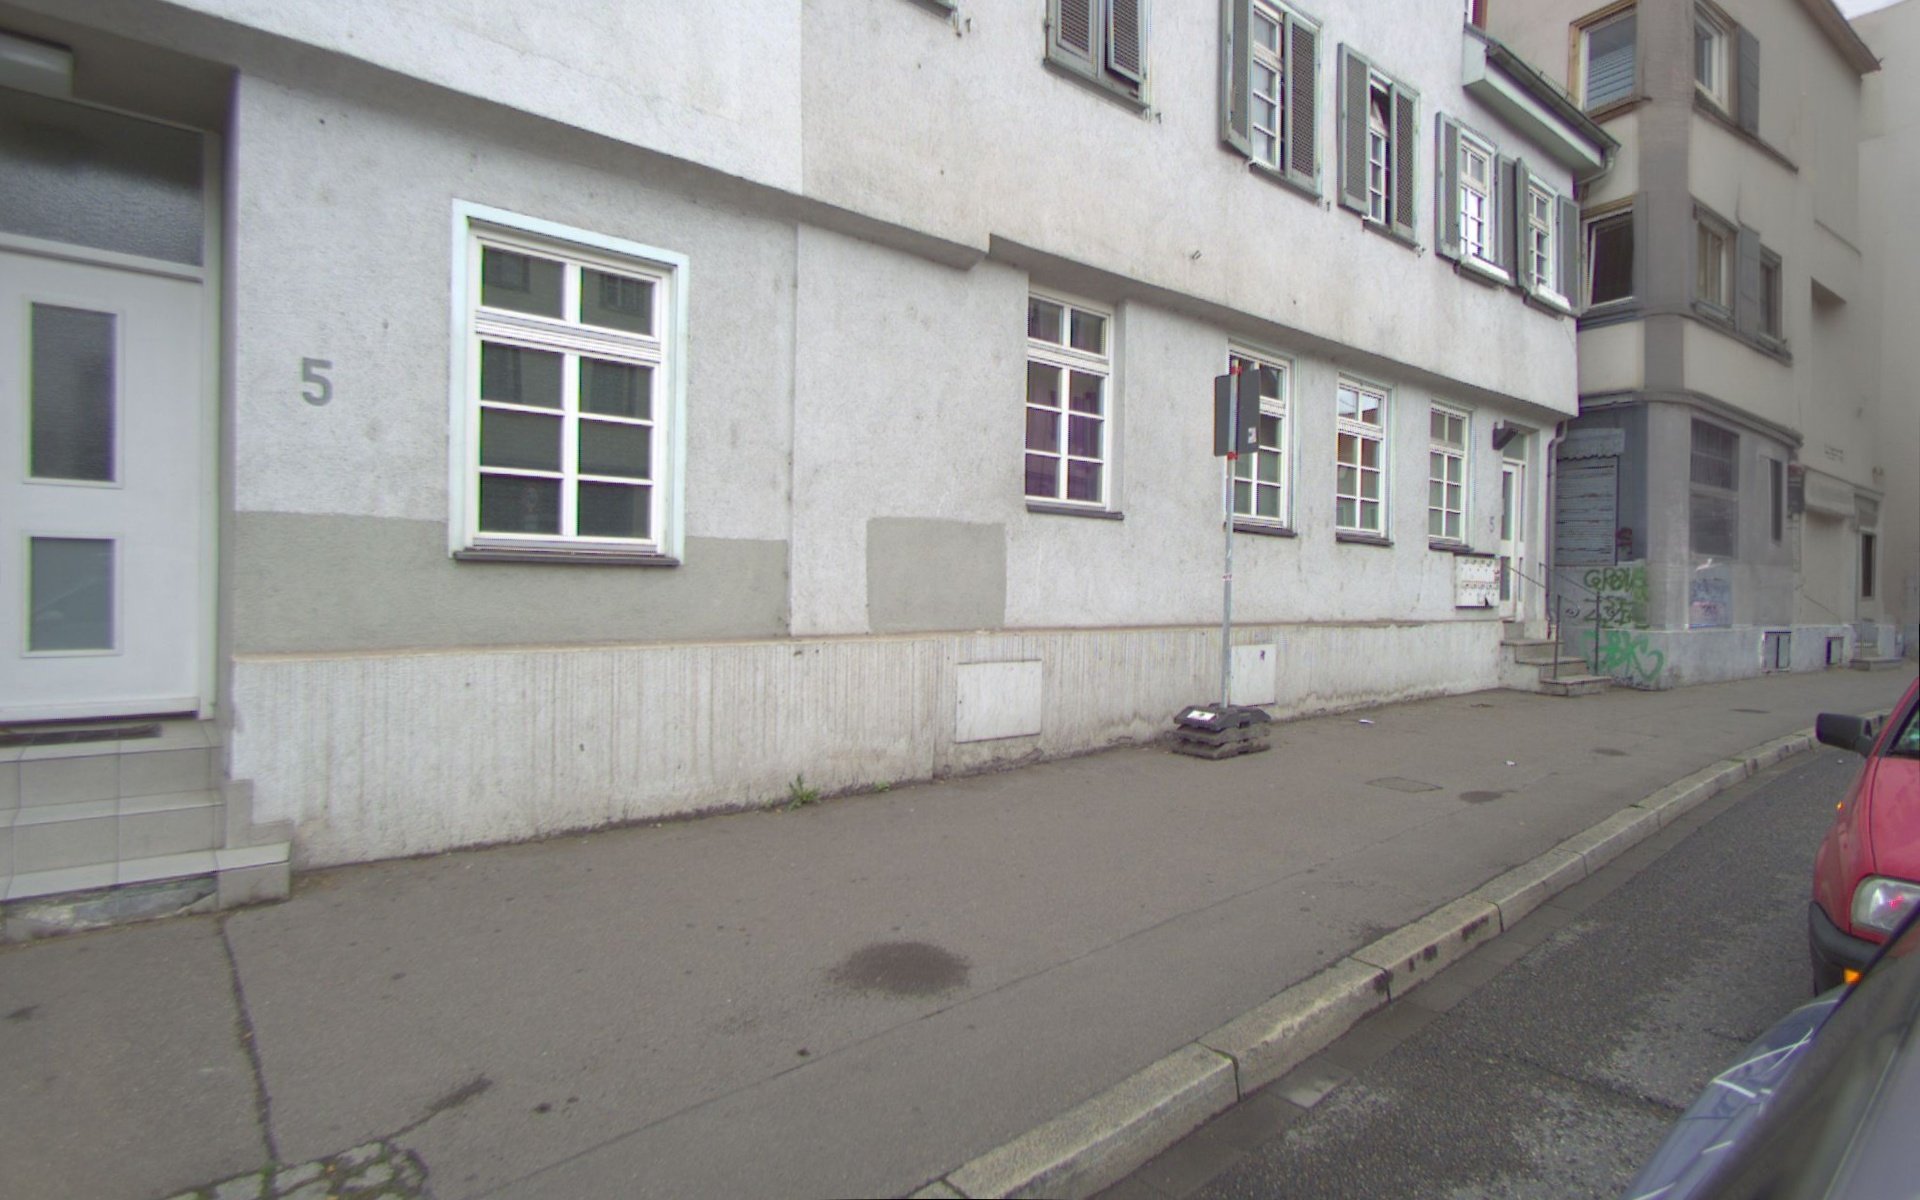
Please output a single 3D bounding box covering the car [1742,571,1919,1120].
[{"bbox_3d":[4.378,0.624,3.460,3.927,1.443,1.793,-1,1,-38],"label":"car"}]
